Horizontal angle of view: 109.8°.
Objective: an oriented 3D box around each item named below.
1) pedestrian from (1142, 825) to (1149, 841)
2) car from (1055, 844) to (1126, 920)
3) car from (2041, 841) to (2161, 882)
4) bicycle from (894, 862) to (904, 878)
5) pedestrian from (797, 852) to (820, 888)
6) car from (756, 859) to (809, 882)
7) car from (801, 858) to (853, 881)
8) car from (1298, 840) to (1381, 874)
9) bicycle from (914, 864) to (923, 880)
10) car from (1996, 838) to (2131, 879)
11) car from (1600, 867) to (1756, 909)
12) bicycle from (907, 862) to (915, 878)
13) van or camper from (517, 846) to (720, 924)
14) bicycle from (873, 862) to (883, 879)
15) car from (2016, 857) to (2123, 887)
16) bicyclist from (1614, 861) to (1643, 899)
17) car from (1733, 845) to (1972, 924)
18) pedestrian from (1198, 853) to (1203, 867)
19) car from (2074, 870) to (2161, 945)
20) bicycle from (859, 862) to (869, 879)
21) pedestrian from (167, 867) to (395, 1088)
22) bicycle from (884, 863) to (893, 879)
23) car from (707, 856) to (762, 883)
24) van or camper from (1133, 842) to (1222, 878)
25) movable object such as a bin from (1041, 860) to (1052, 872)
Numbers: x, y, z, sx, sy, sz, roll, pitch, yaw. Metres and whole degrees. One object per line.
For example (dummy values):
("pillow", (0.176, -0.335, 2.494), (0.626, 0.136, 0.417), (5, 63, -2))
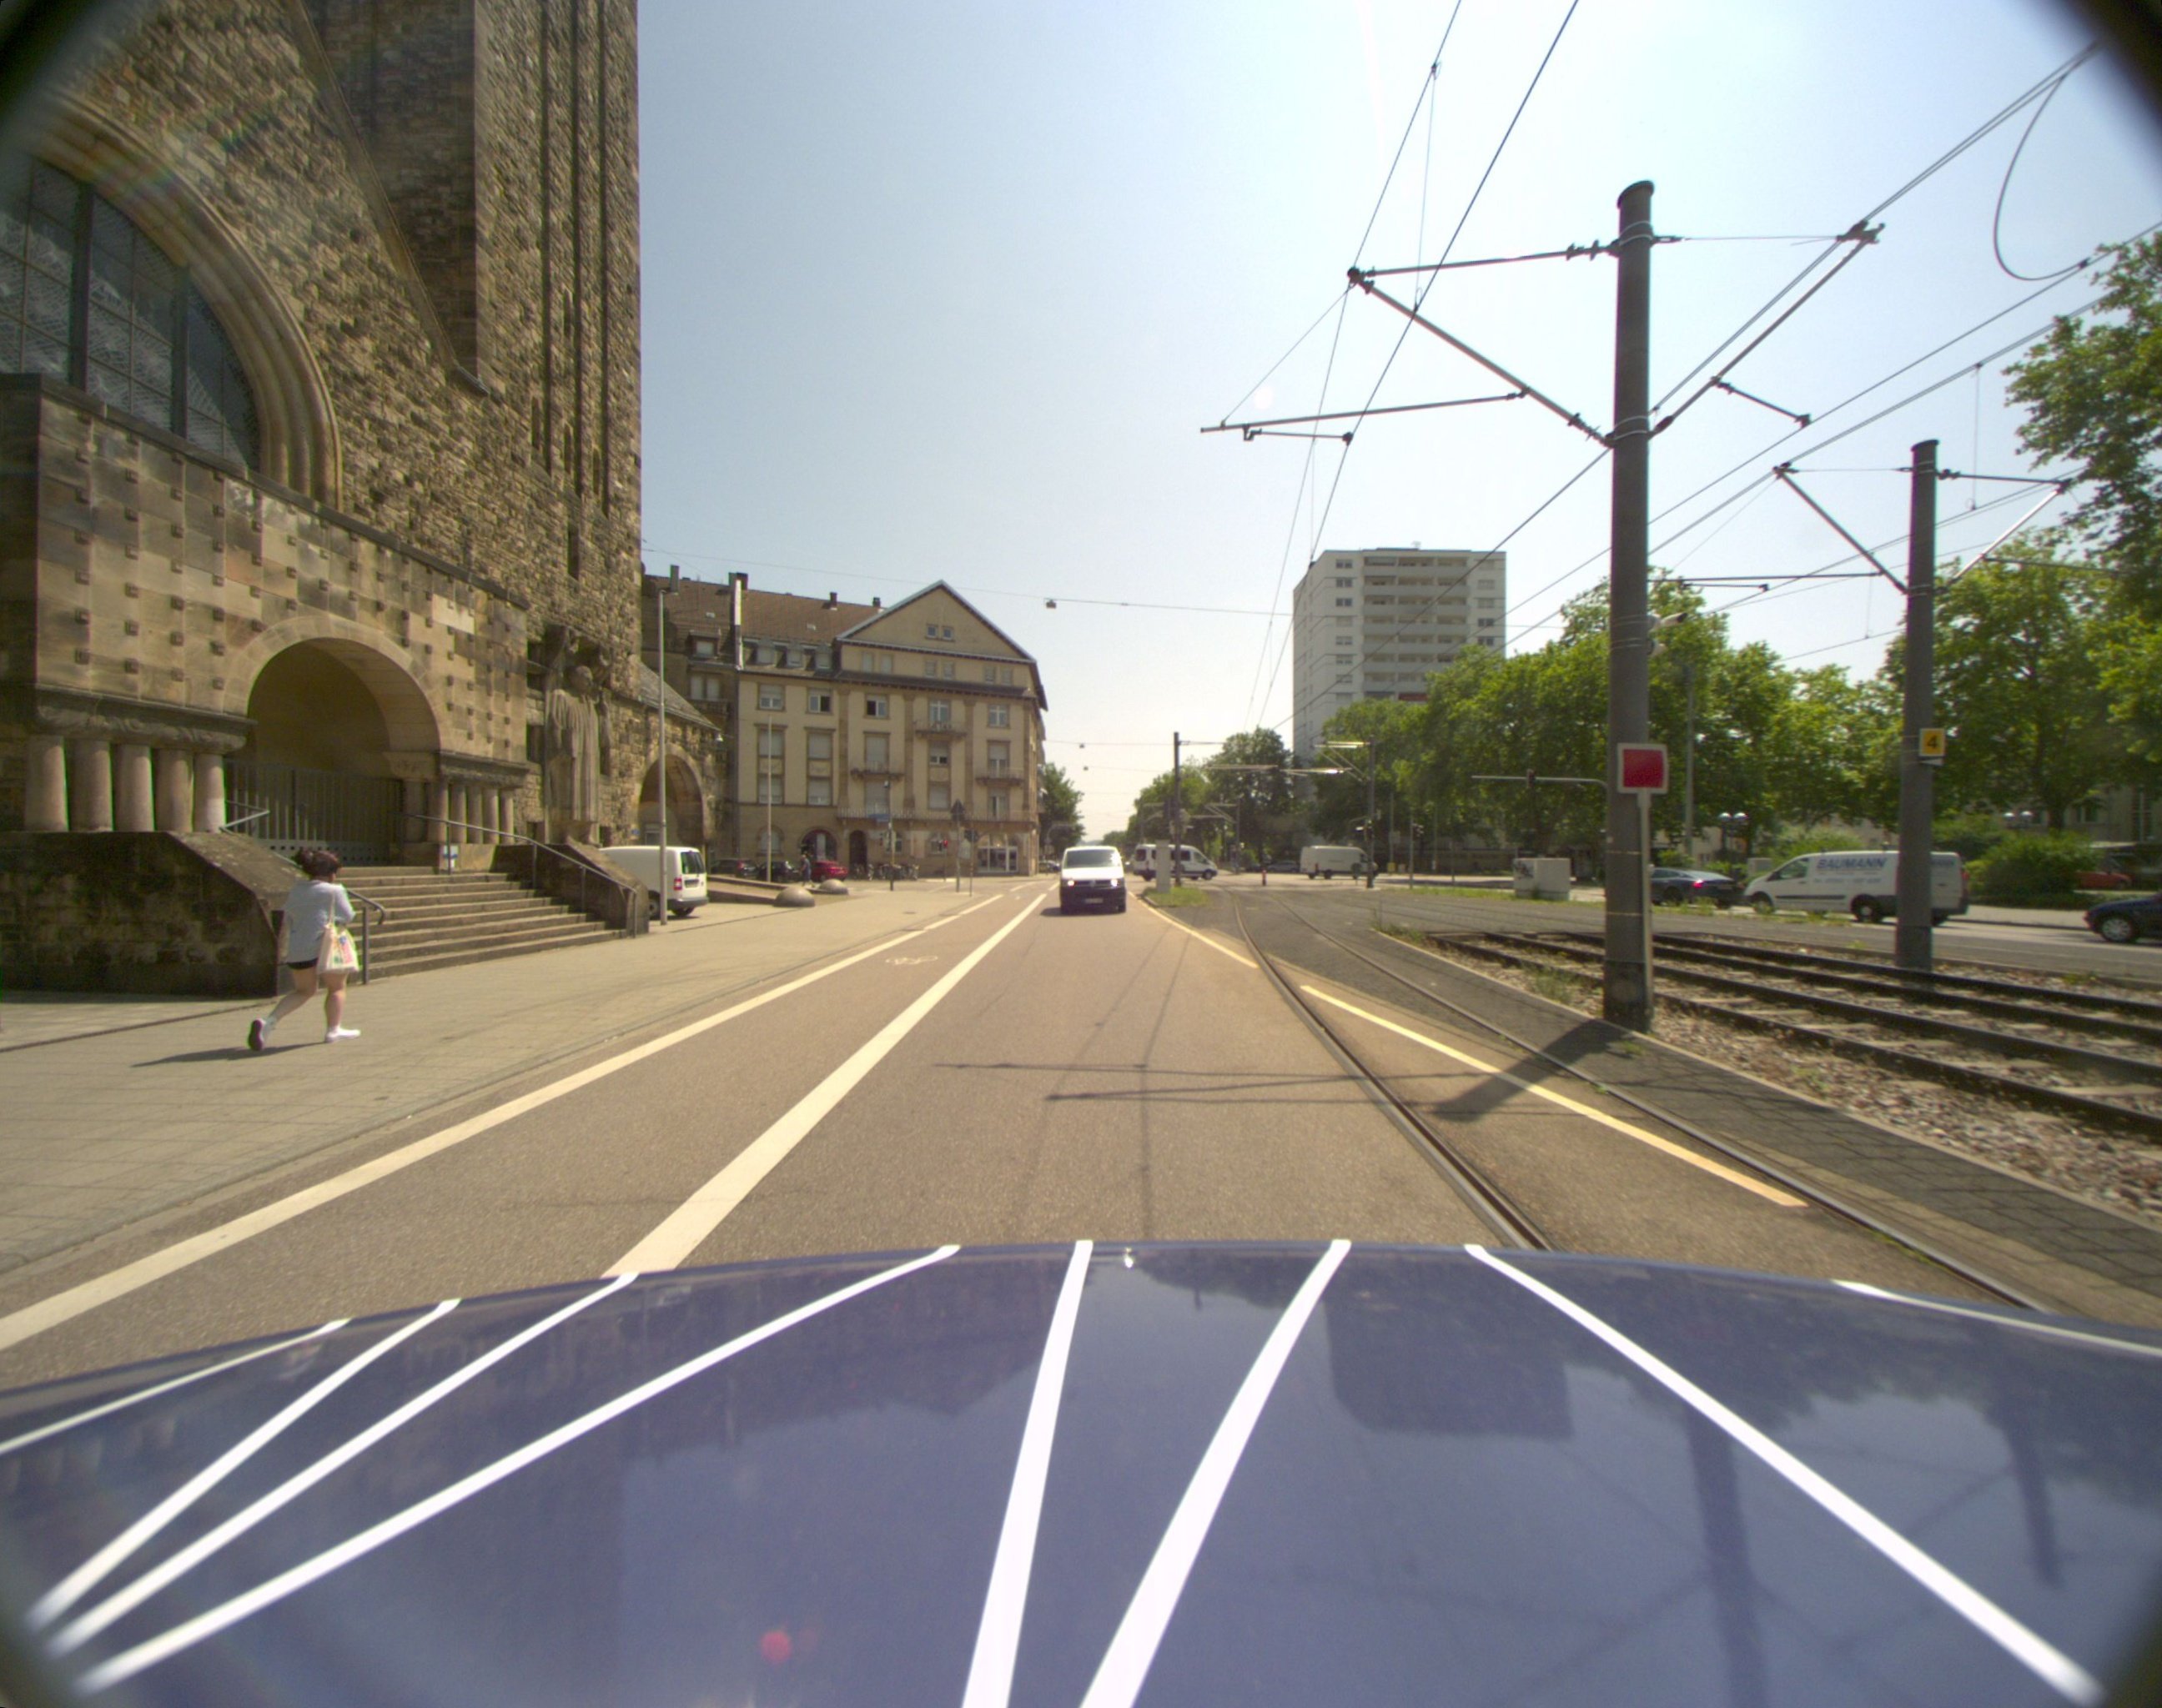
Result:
("pedestrian", (6.632, -2.148, 78.155), (0.679, 1.695, 0.554), (-1, 1, 3))
("car", (0.292, 0.722, 22.198), (1.852, 1.942, 4.943), (0, 0, 1))
("car", (54.852, 0.382, 40.609), (1.998, 2.071, 4.000), (0, 0, 0))
("bicycle", (-13.817, 1.188, 57.694), (0.565, 1.145, 1.803), (-1, 1, -10))
("pedestrian", (-13.605, 0.791, 37.974), (0.744, 1.812, 0.834), (-1, 0, 8))
("car", (-20.666, 1.116, 52.533), (3.218, 1.471, 1.619), (1, 3, 26))
("car", (-17.915, 1.096, 53.643), (3.218, 1.471, 1.619), (1, 3, 26))
("car", (20.481, 0.193, 60.139), (6.642, 2.622, 2.073), (0, 1, -25))
("bicycle", (-12.088, 1.340, 56.602), (0.565, 1.145, 2.058), (-1, 1, -10))
("car", (52.294, 0.207, 40.566), (1.998, 2.071, 4.000), (0, 0, 0))
("car", (21.403, 1.169, 27.546), (1.952, 1.351, 4.628), (0, 0, -1))
("bicycle", (-12.957, 1.176, 57.986), (0.565, 1.145, 1.803), (-1, 1, -10))
("van or camper", (-11.656, 0.758, 19.355), (3.997, 1.815, 1.803), (1, 0, -1))
("bicycle", (-15.011, 1.229, 56.221), (0.565, 1.145, 1.803), (-1, 1, -10))
("car", (48.178, 0.859, 37.064), (3.342, 1.375, 1.472), (-1, 0, -1))
("bicyclist", (24.269, 1.148, 33.676), (0.640, 1.676, 0.868), (-1, 0, -3))
("car", (21.388, 0.774, 21.431), (1.781, 1.979, 4.804), (0, 0, -1))
("pedestrian", (15.027, 0.743, 95.671), (0.510, 1.701, 0.554), (-1, 1, 1))
("car", (21.386, 1.057, 13.845), (1.600, 1.412, 3.781), (2, 0, 0))
("bicycle", (-15.747, 1.191, 55.064), (0.566, 1.145, 1.802), (-1, 1, -19))
("pedestrian", (-6.454, 0.940, 6.197), (0.795, 1.641, 0.967), (-1, 0, 2))
("bicycle", (-14.452, 1.265, 57.084), (0.565, 1.145, 1.803), (-1, 1, -10))
("car", (-23.315, 1.014, 51.159), (3.218, 1.656, 1.619), (1, 3, 26))
("van or camper", (6.681, 0.432, 52.757), (5.909, 2.447, 2.069), (0, 0, -23))
("movable object such as a bin", (-4.121, 1.403, 89.971), (1.214, 1.427, 1.008), (-1, 0, -4))
